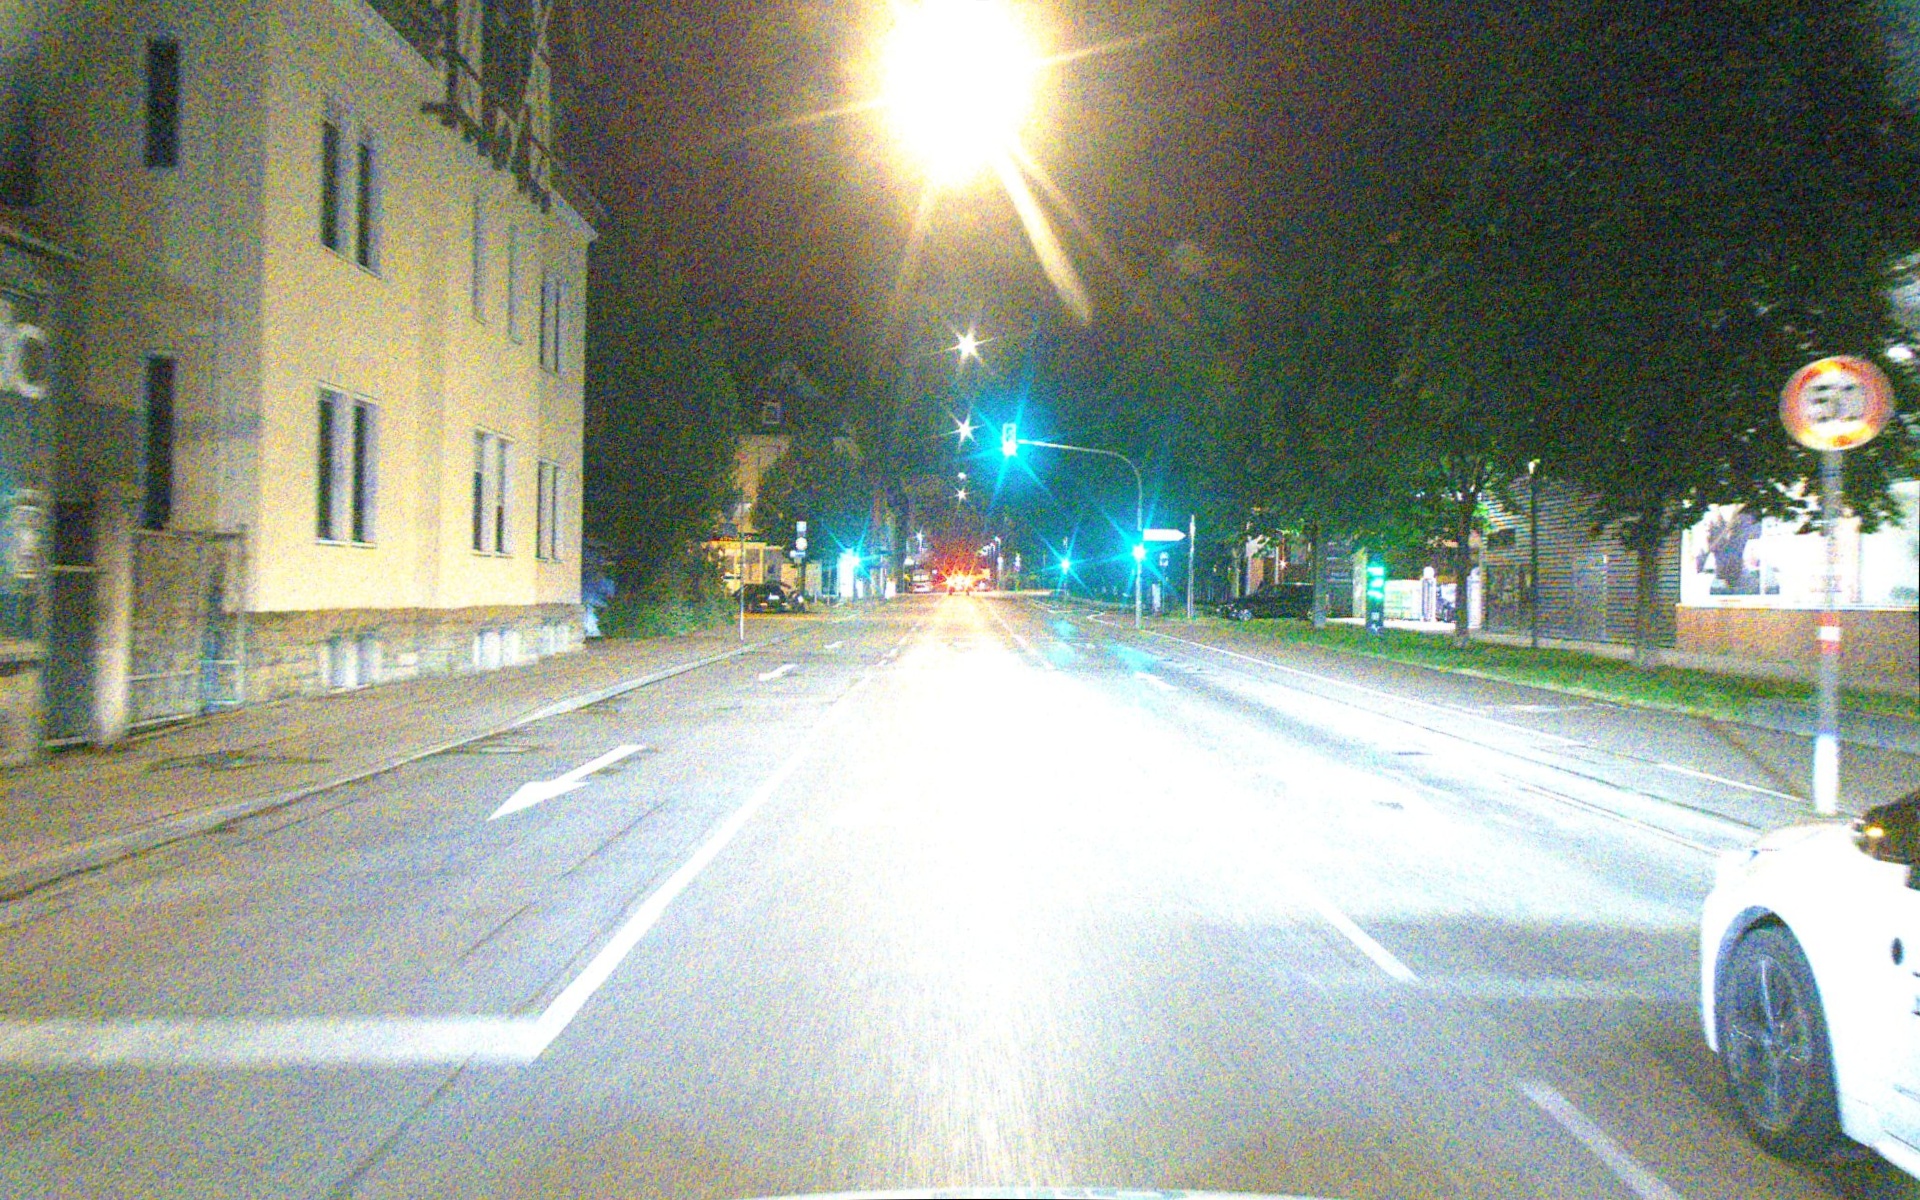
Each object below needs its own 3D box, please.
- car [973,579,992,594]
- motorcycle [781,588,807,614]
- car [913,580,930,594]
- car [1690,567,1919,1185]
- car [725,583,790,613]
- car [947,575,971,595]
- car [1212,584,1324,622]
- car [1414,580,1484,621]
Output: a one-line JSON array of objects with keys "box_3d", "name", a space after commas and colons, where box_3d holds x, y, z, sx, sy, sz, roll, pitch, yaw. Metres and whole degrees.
[{"box_3d": [2.514, -1.560, 189.263, 1.954, 1.624, 3.998, 0, 0, -3], "name": "car"}, {"box_3d": [-8.115, 0.043, 80.775, 0.769, 1.225, 2.436, 0, 0, -19], "name": "motorcycle"}, {"box_3d": [-4.037, -1.353, 174.727, 1.742, 1.414, 3.999, 0, 0, -2], "name": "car"}, {"box_3d": [3.122, 0.690, 3.063, 1.694, 1.460, 4.211, 3, 0, 1], "name": "car"}, {"box_3d": [-10.226, -0.117, 83.406, 1.786, 1.512, 3.957, 0, 0, -32], "name": "car"}, {"box_3d": [-0.100, -1.346, 148.823, 1.953, 1.668, 3.998, 1, 0, -2], "name": "car"}, {"box_3d": [11.525, 0.096, 62.042, 3.904, 1.411, 1.772, 0, 0, 2], "name": "car"}, {"box_3d": [18.871, -0.001, 63.929, 1.541, 1.513, 3.831, 0, 0, -1], "name": "car"}]
